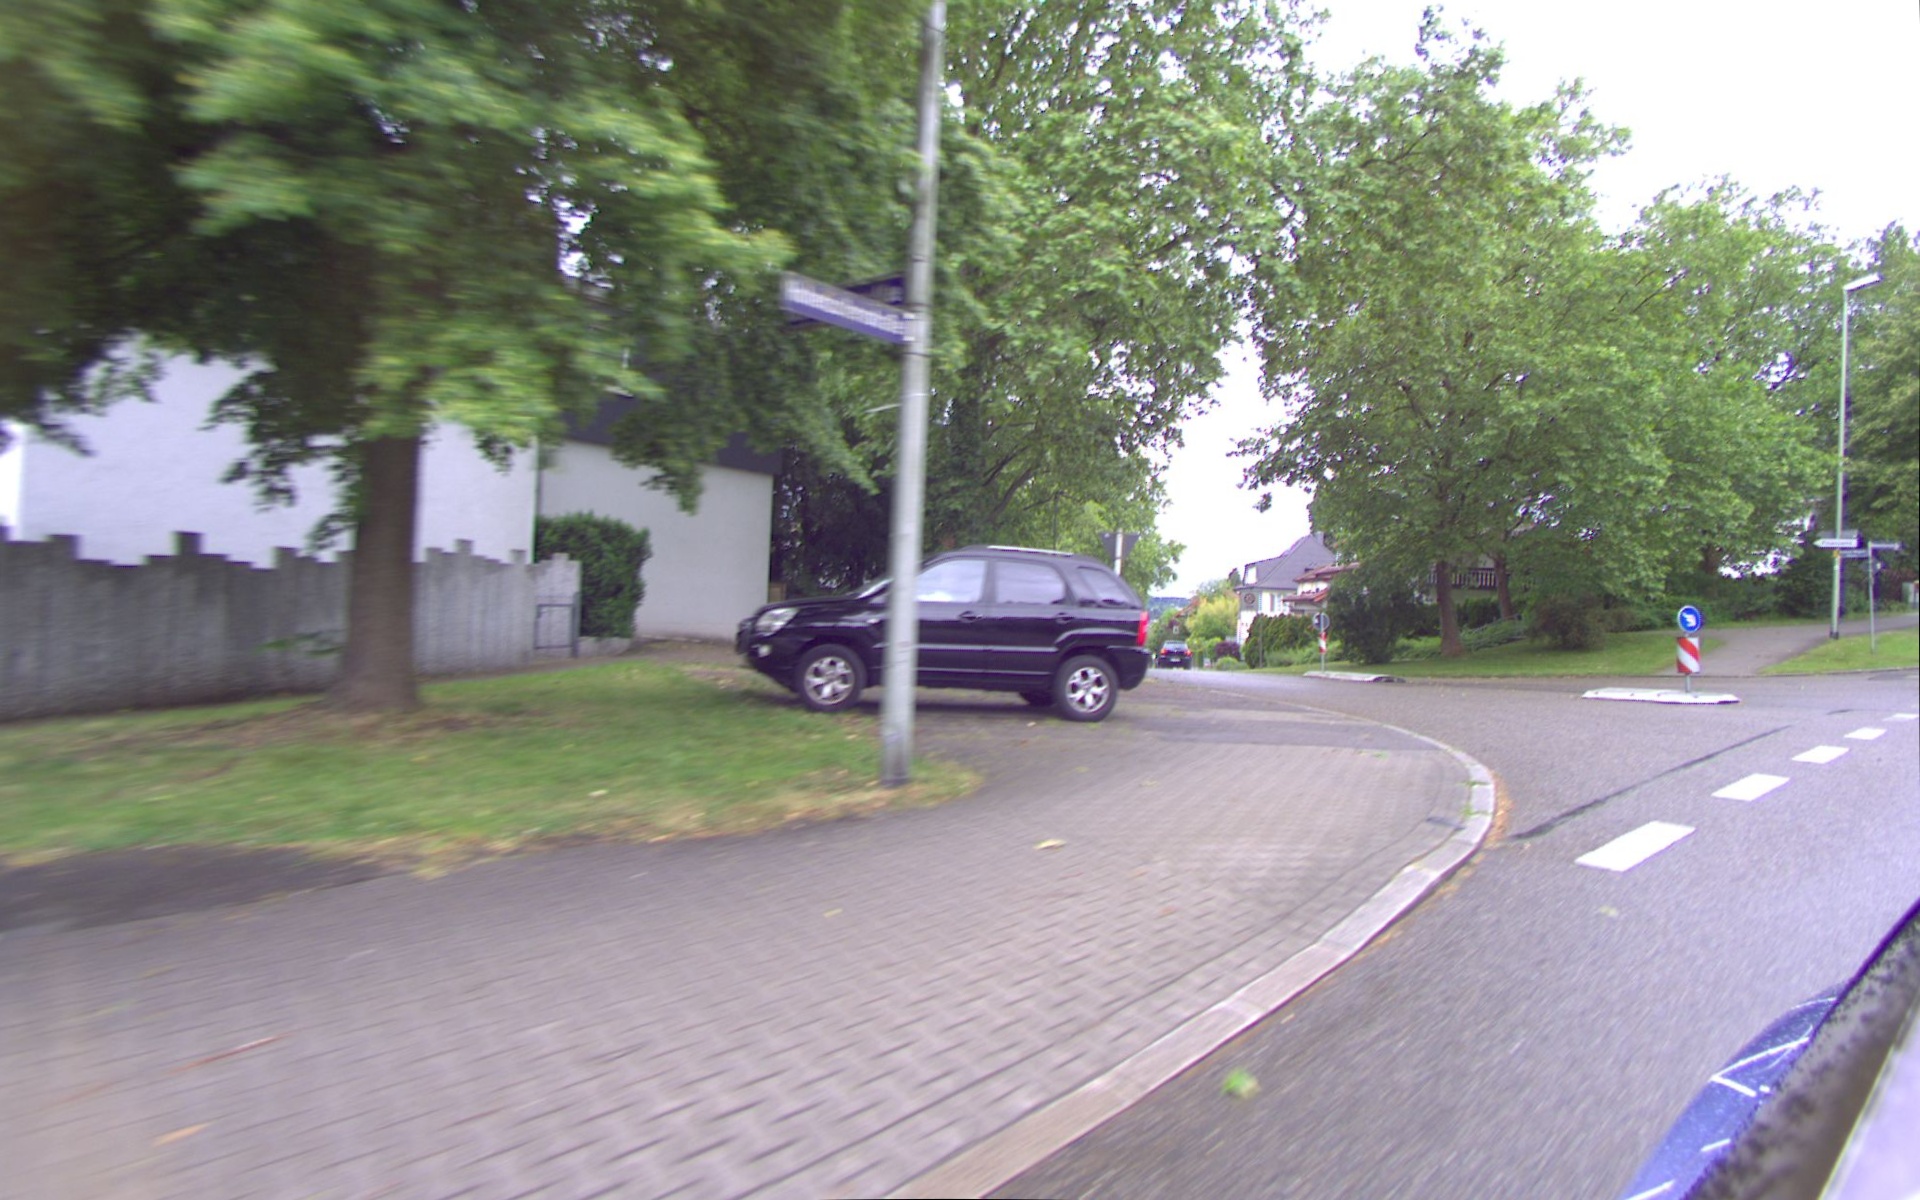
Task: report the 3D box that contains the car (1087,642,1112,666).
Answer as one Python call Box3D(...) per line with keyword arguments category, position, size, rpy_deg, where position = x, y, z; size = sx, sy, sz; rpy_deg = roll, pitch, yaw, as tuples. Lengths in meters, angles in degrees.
Box3D(category="car", position=(9.867, 3.810, 71.668), size=(1.698, 1.482, 3.991), rpy_deg=(-1, 0, 8))

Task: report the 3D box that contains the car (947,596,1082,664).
Box3D(category="car", position=(2.636, 1.382, 48.021), size=(6.047, 2.707, 2.351), rpy_deg=(4, 0, 9))

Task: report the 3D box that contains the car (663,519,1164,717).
Box3D(category="car", position=(-0.521, 0.222, 10.673), size=(4.801, 1.711, 1.957), rpy_deg=(3, -1, -11))

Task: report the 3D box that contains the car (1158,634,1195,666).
Box3D(category="car", position=(11.214, 2.579, 52.251), size=(1.702, 1.483, 3.980), rpy_deg=(2, -3, 14))

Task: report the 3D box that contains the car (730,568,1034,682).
Box3D(category="car", position=(-1.193, 0.392, 16.017), size=(4.477, 1.489, 1.757), rpy_deg=(3, -1, -2))
